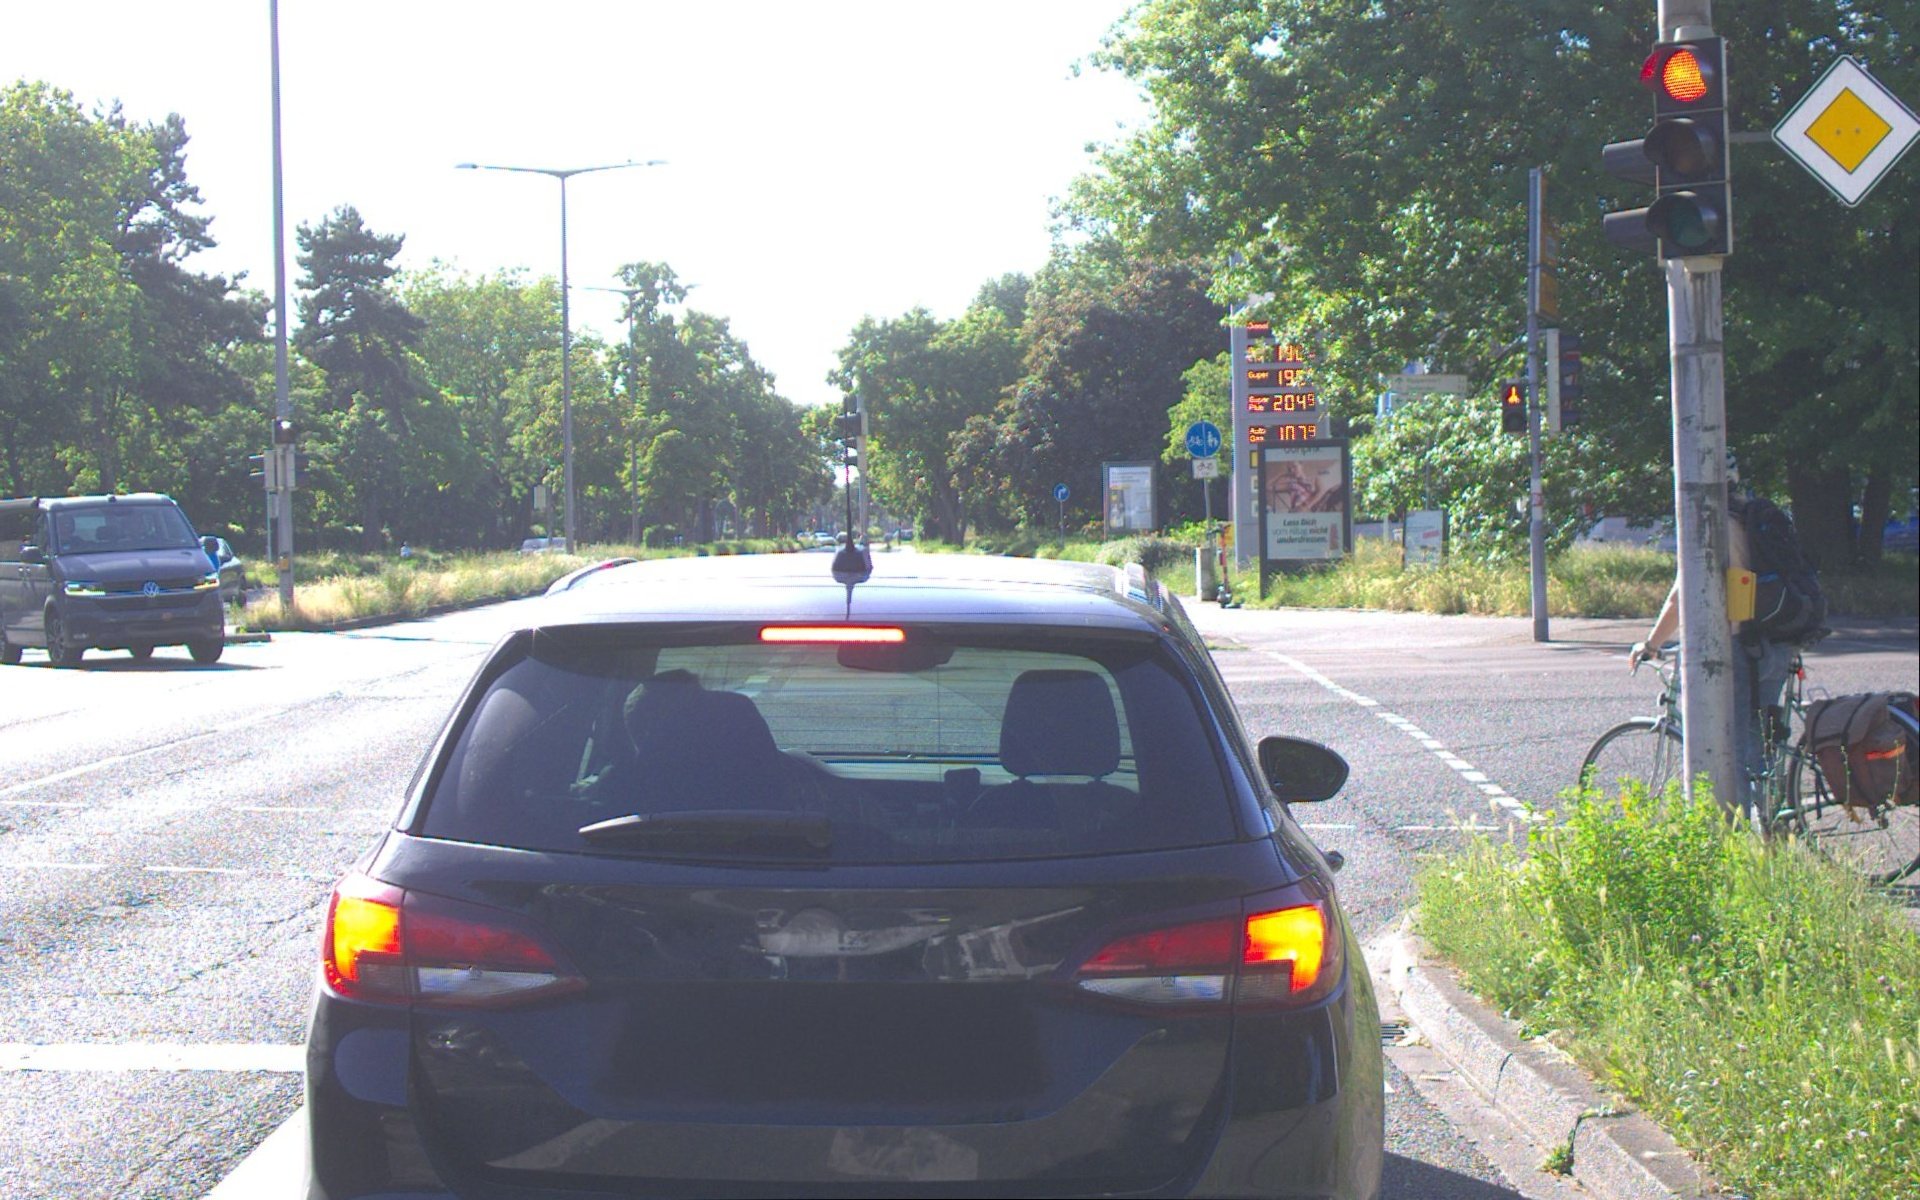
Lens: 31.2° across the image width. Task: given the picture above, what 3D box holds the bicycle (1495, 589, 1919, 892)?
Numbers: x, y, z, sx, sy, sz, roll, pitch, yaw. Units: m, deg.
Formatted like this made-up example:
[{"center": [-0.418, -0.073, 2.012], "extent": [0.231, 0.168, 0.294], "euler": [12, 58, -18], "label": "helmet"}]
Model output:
[{"center": [2.981, 0.540, 13.338], "extent": [0.536, 1.094, 1.775], "euler": [-3, 0, -44], "label": "bicycle"}]

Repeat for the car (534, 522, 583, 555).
[{"center": [-18.540, -2.833, 158.797], "extent": [1.776, 1.458, 4.165], "euler": [-1, 1, -1], "label": "car"}]

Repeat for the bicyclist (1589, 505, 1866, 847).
[{"center": [2.972, 0.294, 13.336], "extent": [0.536, 1.272, 0.829], "euler": [-3, 0, -44], "label": "bicyclist"}]

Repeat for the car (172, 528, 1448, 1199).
[{"center": [-0.231, 0.624, 6.852], "extent": [1.756, 1.490, 4.207], "euler": [0, 1, -1], "label": "car"}]

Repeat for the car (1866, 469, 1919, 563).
[{"center": [17.098, -1.429, 56.720], "extent": [3.887, 1.512, 1.746], "euler": [-2, 1, -23], "label": "car"}]

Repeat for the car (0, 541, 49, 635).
[{"center": [-16.759, -0.186, 57.413], "extent": [1.888, 1.519, 4.504], "euler": [-1, 1, -1], "label": "car"}]

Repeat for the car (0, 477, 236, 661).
[{"center": [-10.268, -0.374, 40.220], "extent": [1.911, 1.985, 5.015], "euler": [-2, 1, -31], "label": "car"}]

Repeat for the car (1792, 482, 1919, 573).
[{"center": [16.622, -1.287, 59.806], "extent": [3.887, 1.512, 1.746], "euler": [-2, 1, -23], "label": "car"}]
